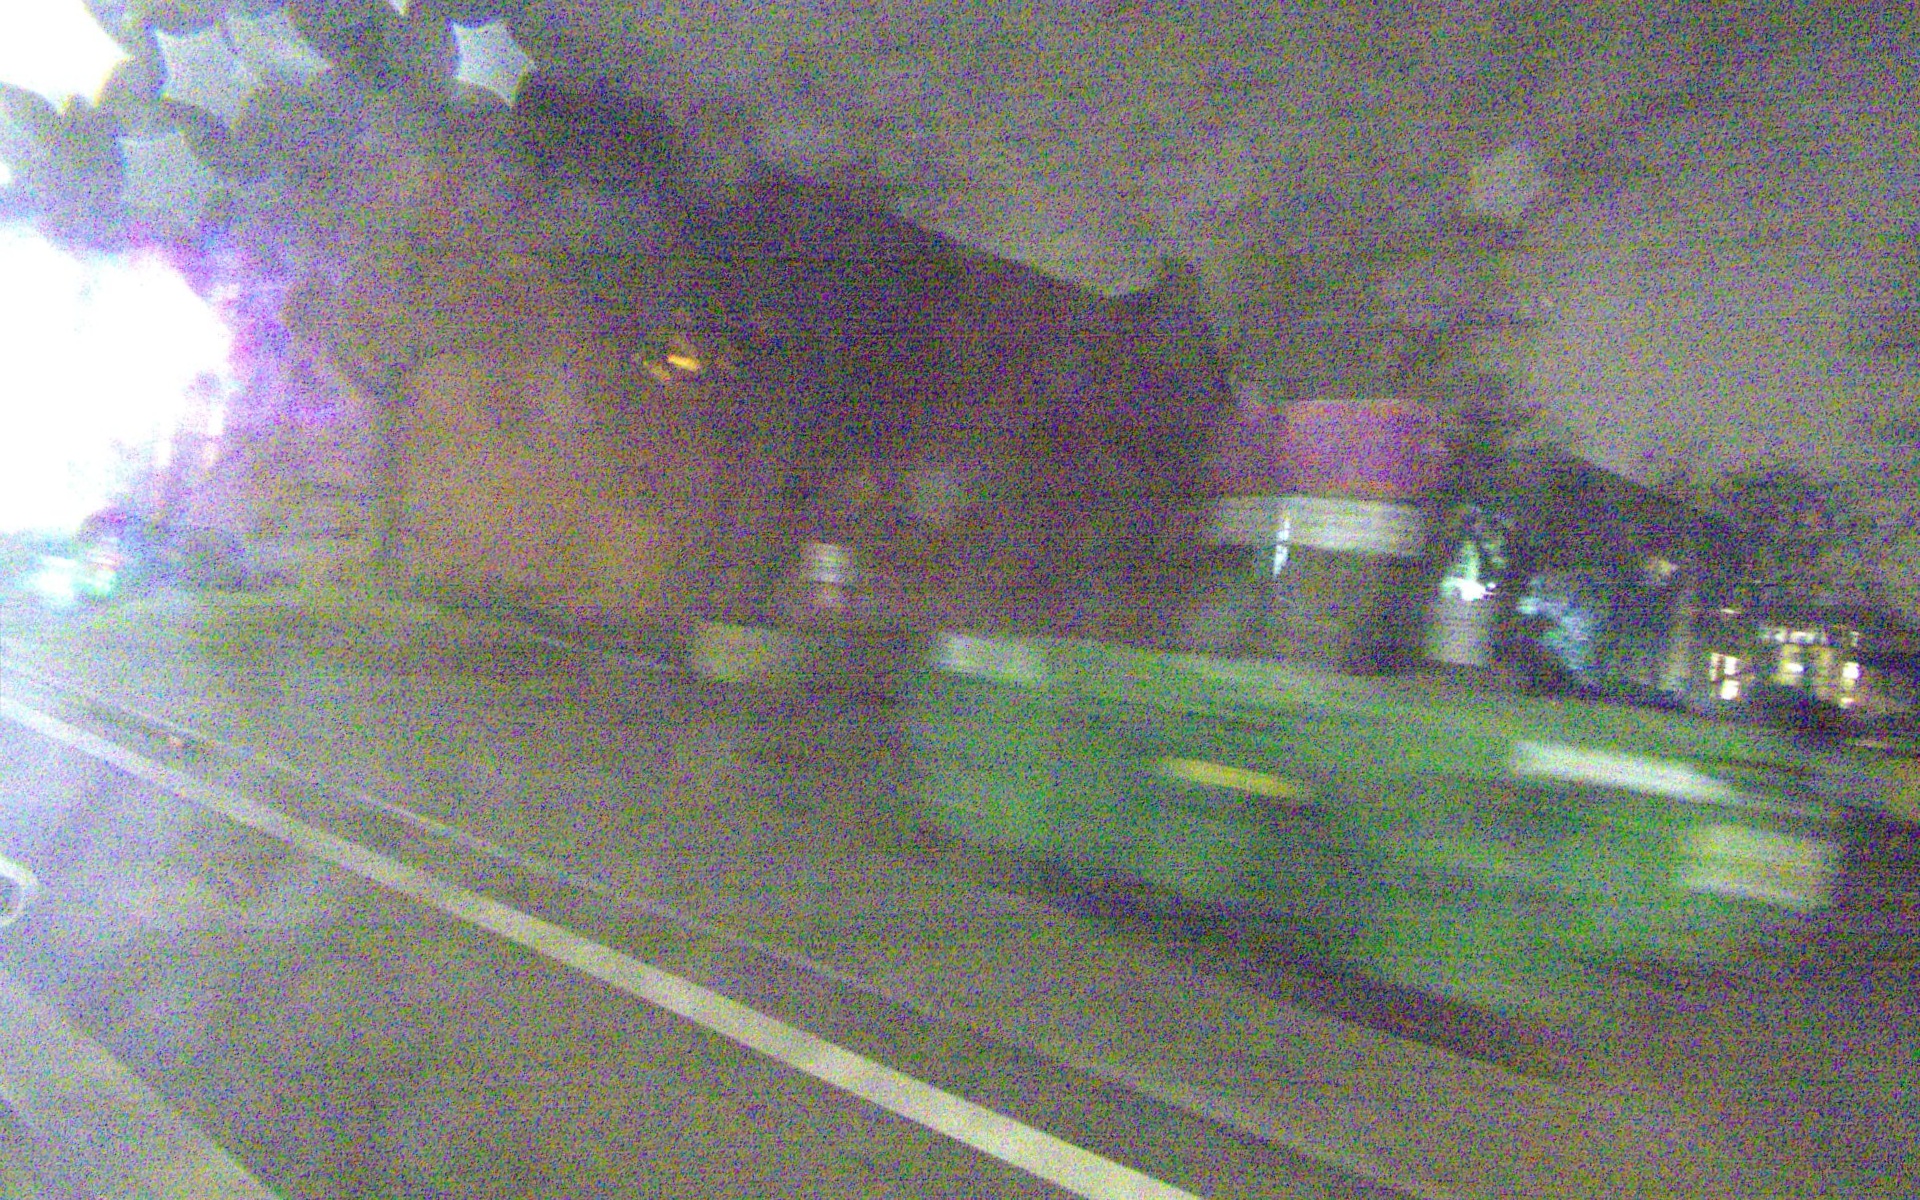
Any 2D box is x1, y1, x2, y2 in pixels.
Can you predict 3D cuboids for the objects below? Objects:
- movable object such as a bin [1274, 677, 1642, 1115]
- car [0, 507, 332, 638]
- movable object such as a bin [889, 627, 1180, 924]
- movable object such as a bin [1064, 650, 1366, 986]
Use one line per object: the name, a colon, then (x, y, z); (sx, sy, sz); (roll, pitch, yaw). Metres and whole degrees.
movable object such as a bin: (2.158, 1.137, 4.478); (1.139, 1.426, 1.324); (6, 1, 26)
car: (-12.151, -0.316, 15.507); (1.923, 1.555, 4.110); (7, -2, 6)
movable object such as a bin: (0.477, 0.961, 6.048); (1.056, 1.440, 1.368); (6, 1, 37)
movable object such as a bin: (1.402, 1.062, 5.445); (1.084, 1.440, 1.207); (6, 1, 37)
